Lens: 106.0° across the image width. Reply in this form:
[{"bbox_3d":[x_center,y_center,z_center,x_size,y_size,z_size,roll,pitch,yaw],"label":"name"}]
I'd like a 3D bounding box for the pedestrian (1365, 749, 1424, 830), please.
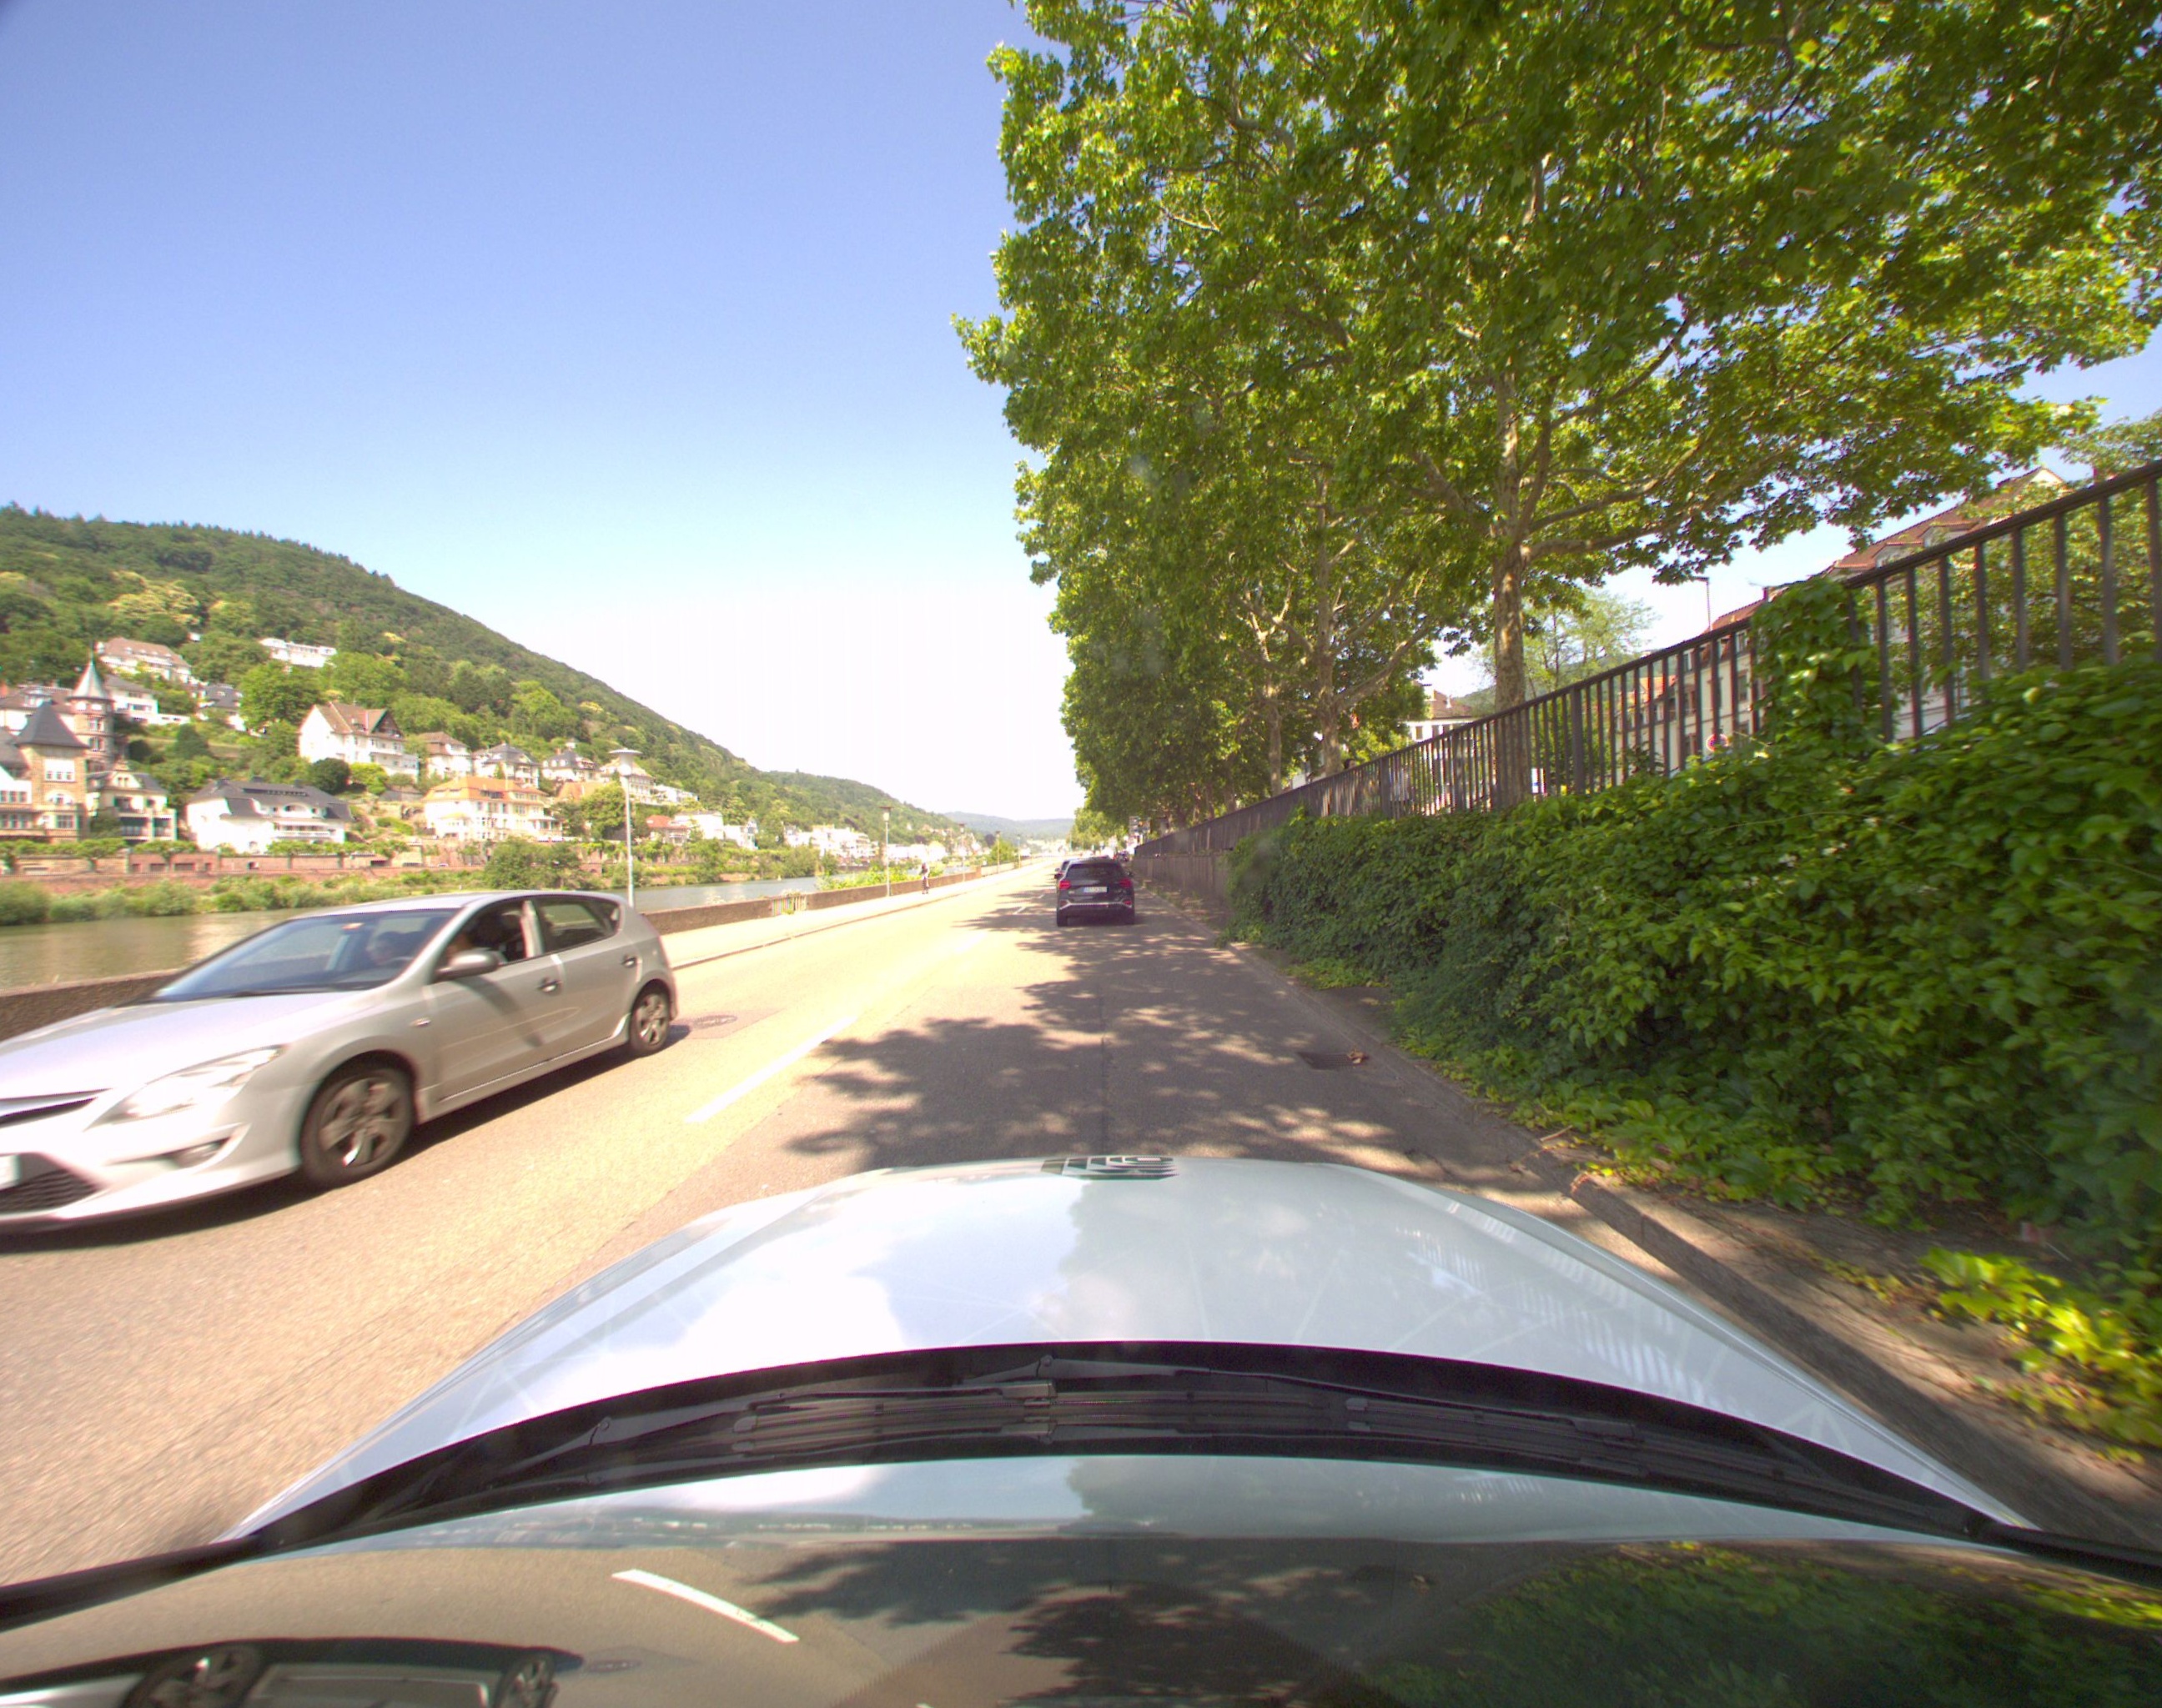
[{"bbox_3d":[5.676,-1.147,14.786,0.642,1.365,0.794,-5,0,-1],"label":"pedestrian"}]

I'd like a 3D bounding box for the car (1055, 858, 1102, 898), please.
[{"bbox_3d":[-0.084,0.938,33.472,1.822,1.511,4.000,-1,0,0],"label":"car"}]

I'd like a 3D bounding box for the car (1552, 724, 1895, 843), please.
[{"bbox_3d":[8.819,-0.930,11.383,3.510,1.235,1.514,-5,0,1],"label":"car"}]

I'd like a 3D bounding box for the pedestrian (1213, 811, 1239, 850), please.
[{"bbox_3d":[5.271,-0.841,29.633,0.678,1.365,0.989,-5,0,0],"label":"pedestrian"}]

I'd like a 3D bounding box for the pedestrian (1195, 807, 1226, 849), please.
[{"bbox_3d":[5.216,-1.029,32.873,0.934,1.579,1.027,-5,0,-1],"label":"pedestrian"}]

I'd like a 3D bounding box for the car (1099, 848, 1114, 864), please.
[{"bbox_3d":[3.538,0.314,113.106,1.987,2.169,4.000,-2,0,0],"label":"car"}]

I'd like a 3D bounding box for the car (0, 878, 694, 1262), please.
[{"bbox_3d":[-4.472,0.978,5.396,1.725,1.442,4.046,-3,0,1],"label":"car"}]

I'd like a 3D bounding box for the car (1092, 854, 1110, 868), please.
[{"bbox_3d":[2.117,0.724,88.031,1.822,1.444,4.000,-1,0,0],"label":"car"}]

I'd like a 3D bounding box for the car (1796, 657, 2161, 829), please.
[{"bbox_3d":[9.216,-1.035,7.662,3.723,1.235,1.670,-5,0,-8],"label":"car"}]

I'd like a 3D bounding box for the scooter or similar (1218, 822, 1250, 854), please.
[{"bbox_3d":[5.395,-0.554,28.798,0.852,1.026,1.107,-5,0,0],"label":"scooter or similar"}]

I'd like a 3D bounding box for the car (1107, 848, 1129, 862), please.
[{"bbox_3d":[6.009,0.166,133.132,3.088,2.013,5.824,-5,0,0],"label":"car"}]

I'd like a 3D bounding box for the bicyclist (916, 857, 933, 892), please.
[{"bbox_3d":[-7.799,1.019,40.633,0.635,1.673,0.871,-3,-1,0],"label":"bicyclist"}]

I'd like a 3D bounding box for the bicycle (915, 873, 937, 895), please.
[{"bbox_3d":[-7.738,1.478,40.670,0.630,1.012,1.986,-3,0,0],"label":"bicycle"}]

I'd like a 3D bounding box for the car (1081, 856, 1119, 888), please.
[{"bbox_3d":[0.949,0.890,41.981,1.822,1.486,4.000,-1,0,0],"label":"car"}]

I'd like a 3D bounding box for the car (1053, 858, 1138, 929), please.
[{"bbox_3d":[0.332,0.873,19.732,1.822,1.486,4.000,-1,0,0],"label":"car"}]

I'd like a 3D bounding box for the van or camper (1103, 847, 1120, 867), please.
[{"bbox_3d":[4.611,0.408,122.050,2.301,2.847,4.248,-3,0,2],"label":"van or camper"}]

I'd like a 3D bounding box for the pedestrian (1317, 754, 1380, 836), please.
[{"bbox_3d":[4.829,-1.047,14.735,0.751,1.365,0.814,-5,0,-1],"label":"pedestrian"}]

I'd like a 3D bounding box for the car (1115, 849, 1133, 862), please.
[{"bbox_3d":[7.496,0.275,143.090,2.653,2.013,5.824,-5,0,0],"label":"car"}]
